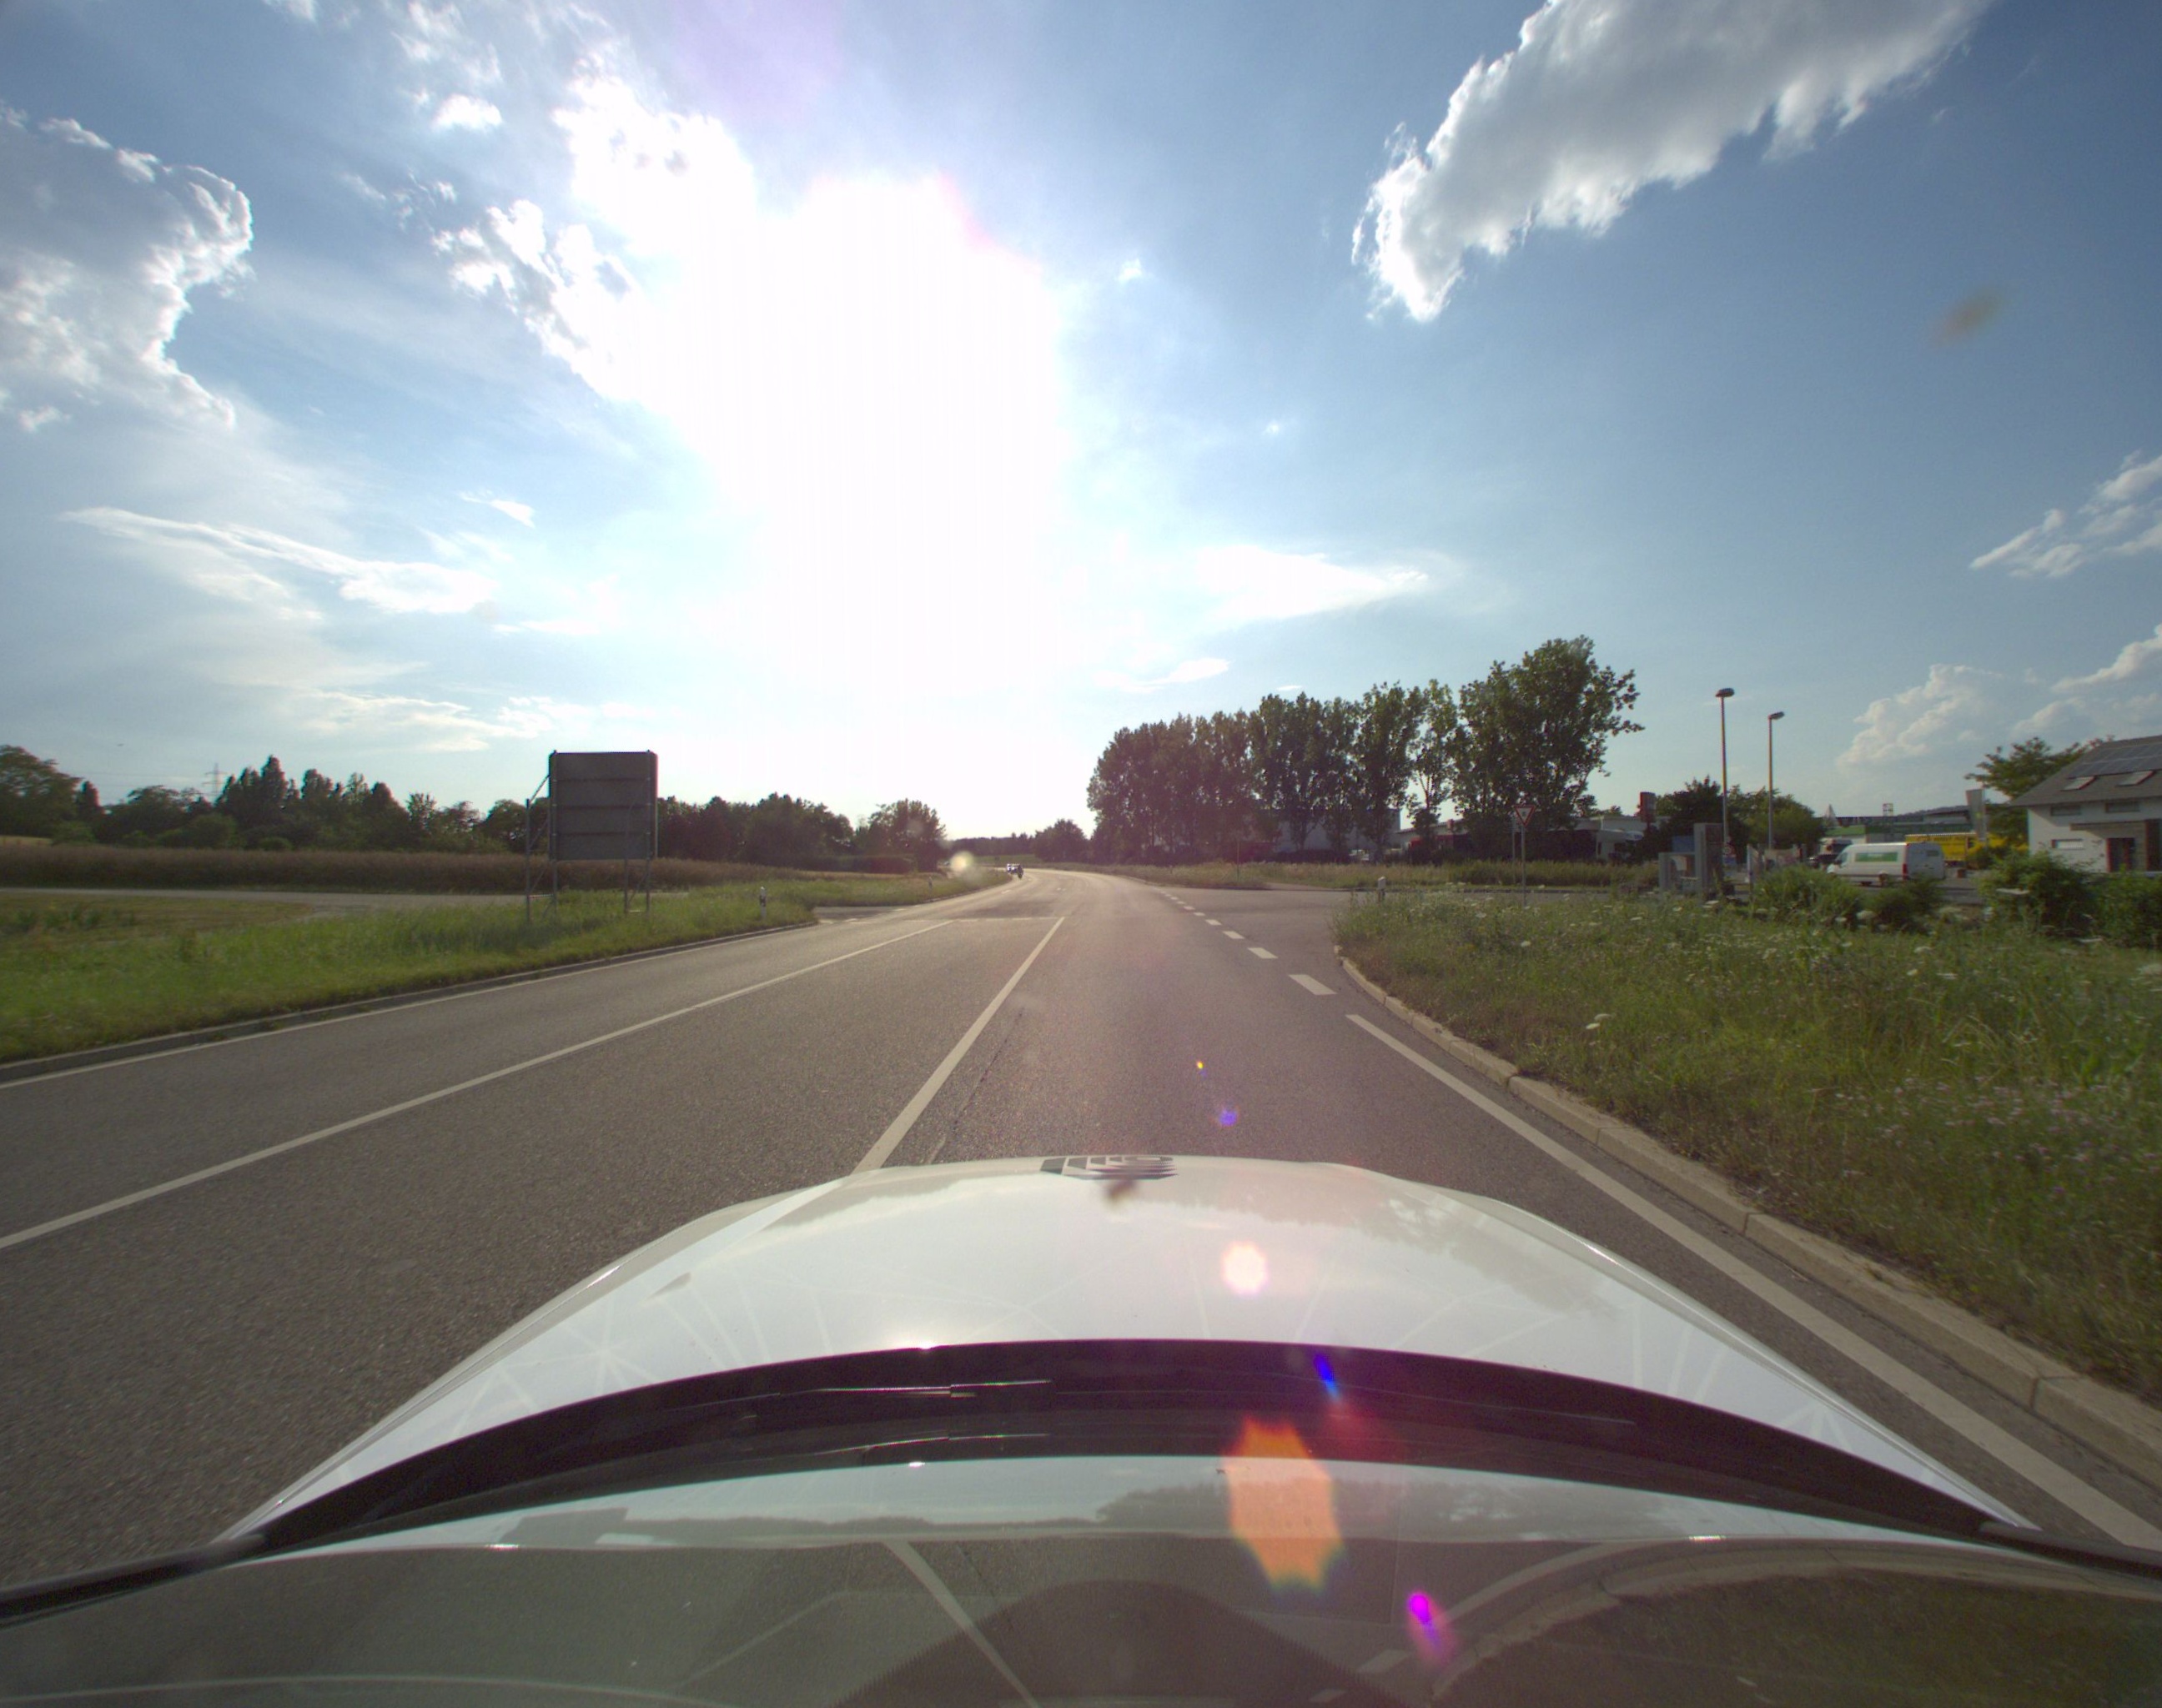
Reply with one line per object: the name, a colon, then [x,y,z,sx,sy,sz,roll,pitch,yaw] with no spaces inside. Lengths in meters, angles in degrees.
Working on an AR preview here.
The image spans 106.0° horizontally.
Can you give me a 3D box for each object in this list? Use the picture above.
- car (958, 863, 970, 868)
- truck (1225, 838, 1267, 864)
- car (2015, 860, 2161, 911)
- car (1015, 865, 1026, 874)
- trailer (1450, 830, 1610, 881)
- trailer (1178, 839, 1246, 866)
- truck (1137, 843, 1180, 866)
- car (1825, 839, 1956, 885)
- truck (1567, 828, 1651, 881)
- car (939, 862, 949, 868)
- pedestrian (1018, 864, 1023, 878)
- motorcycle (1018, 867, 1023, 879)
car: [-31.094,3.125,216.441,1.977,1.151,3.836,2,-2,-24]
truck: [21.779,-0.331,107.975,2.633,3.162,5.661,2,-3,-25]
car: [27.642,0.799,21.397,1.607,1.202,3.875,-4,2,-33]
car: [-9.360,2.381,125.838,1.681,1.349,3.994,-2,-1,-4]
trailer: [37.953,0.223,69.864,2.252,3.916,13.619,2,-2,-22]
trailer: [18.377,-0.079,115.334,2.696,3.142,13.159,2,-3,-25]
truck: [12.010,0.123,127.281,2.522,3.377,9.611,2,-2,-22]
car: [48.257,0.548,48.860,2.214,2.519,6.839,1,-2,12]
truck: [40.857,0.106,63.171,2.256,3.916,5.072,2,-2,-28]
car: [-39.394,3.181,233.729,1.859,1.408,3.615,2,-2,-24]
pedestrian: [-6.786,1.897,91.474,0.564,1.505,0.864,1,-1,-3]
motorcycle: [-6.786,2.131,91.438,0.584,1.261,2.118,1,-1,-3]
